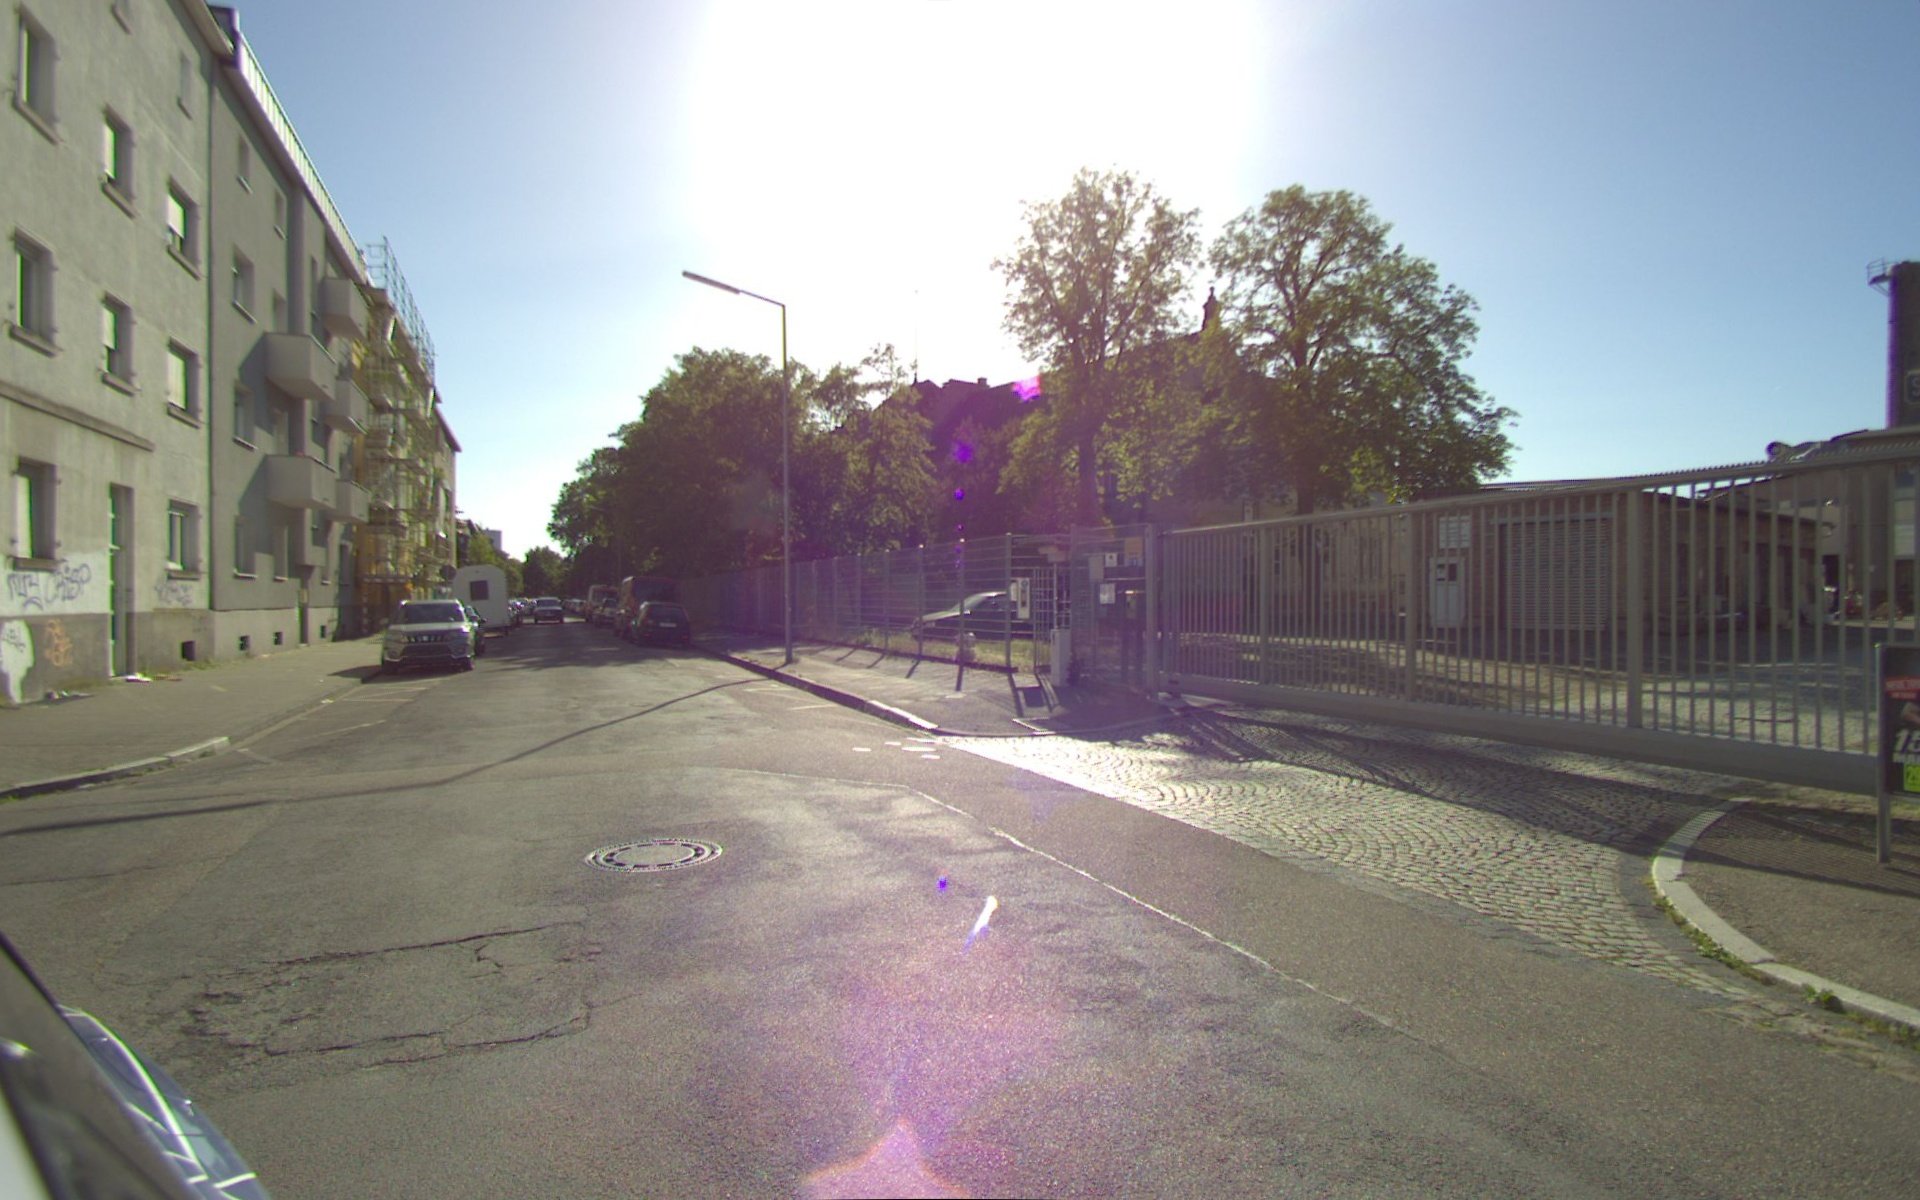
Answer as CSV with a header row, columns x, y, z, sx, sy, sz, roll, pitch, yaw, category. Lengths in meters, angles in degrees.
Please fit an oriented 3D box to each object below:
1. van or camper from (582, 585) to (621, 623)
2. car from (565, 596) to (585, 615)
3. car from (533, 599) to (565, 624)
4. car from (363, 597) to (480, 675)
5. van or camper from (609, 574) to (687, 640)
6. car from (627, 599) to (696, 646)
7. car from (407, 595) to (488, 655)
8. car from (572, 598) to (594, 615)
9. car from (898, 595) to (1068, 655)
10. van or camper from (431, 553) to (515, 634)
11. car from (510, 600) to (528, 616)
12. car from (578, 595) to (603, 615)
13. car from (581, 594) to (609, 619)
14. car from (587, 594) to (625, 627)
x,y,z,sx,sy,sz,roll,pitch,yaw,category
-24.051,0.247,67.813,2.090,2.517,4.013,0,0,-24,van or camper
-42.906,0.601,112.713,1.965,2.029,4.013,0,0,-23,car
-26.658,0.731,65.579,1.831,1.563,4.013,0,0,-24,car
-12.087,0.722,22.959,2.035,1.564,4.013,-1,1,-24,car
-11.970,0.224,38.565,2.175,2.298,5.328,-1,0,-24,van or camper
-9.794,0.686,33.056,1.624,1.427,4.013,-1,1,-24,car
-14.542,0.650,28.875,1.845,1.564,4.013,-1,1,-24,car
-39.312,0.654,105.385,1.965,1.762,4.013,0,0,-23,car
0.583,0.605,26.315,3.930,1.431,2.007,0,0,-24,car
-20.937,-0.208,43.827,2.908,3.204,6.193,1,-1,-23,van or camper
-43.512,0.790,99.870,1.624,1.470,4.013,0,0,-24,car
-33.876,0.469,92.813,1.965,1.797,4.013,0,0,-23,car
-29.522,0.511,81.773,1.965,2.029,4.013,0,0,-23,car
-19.585,0.549,55.917,1.624,1.696,4.013,0,0,-24,car
